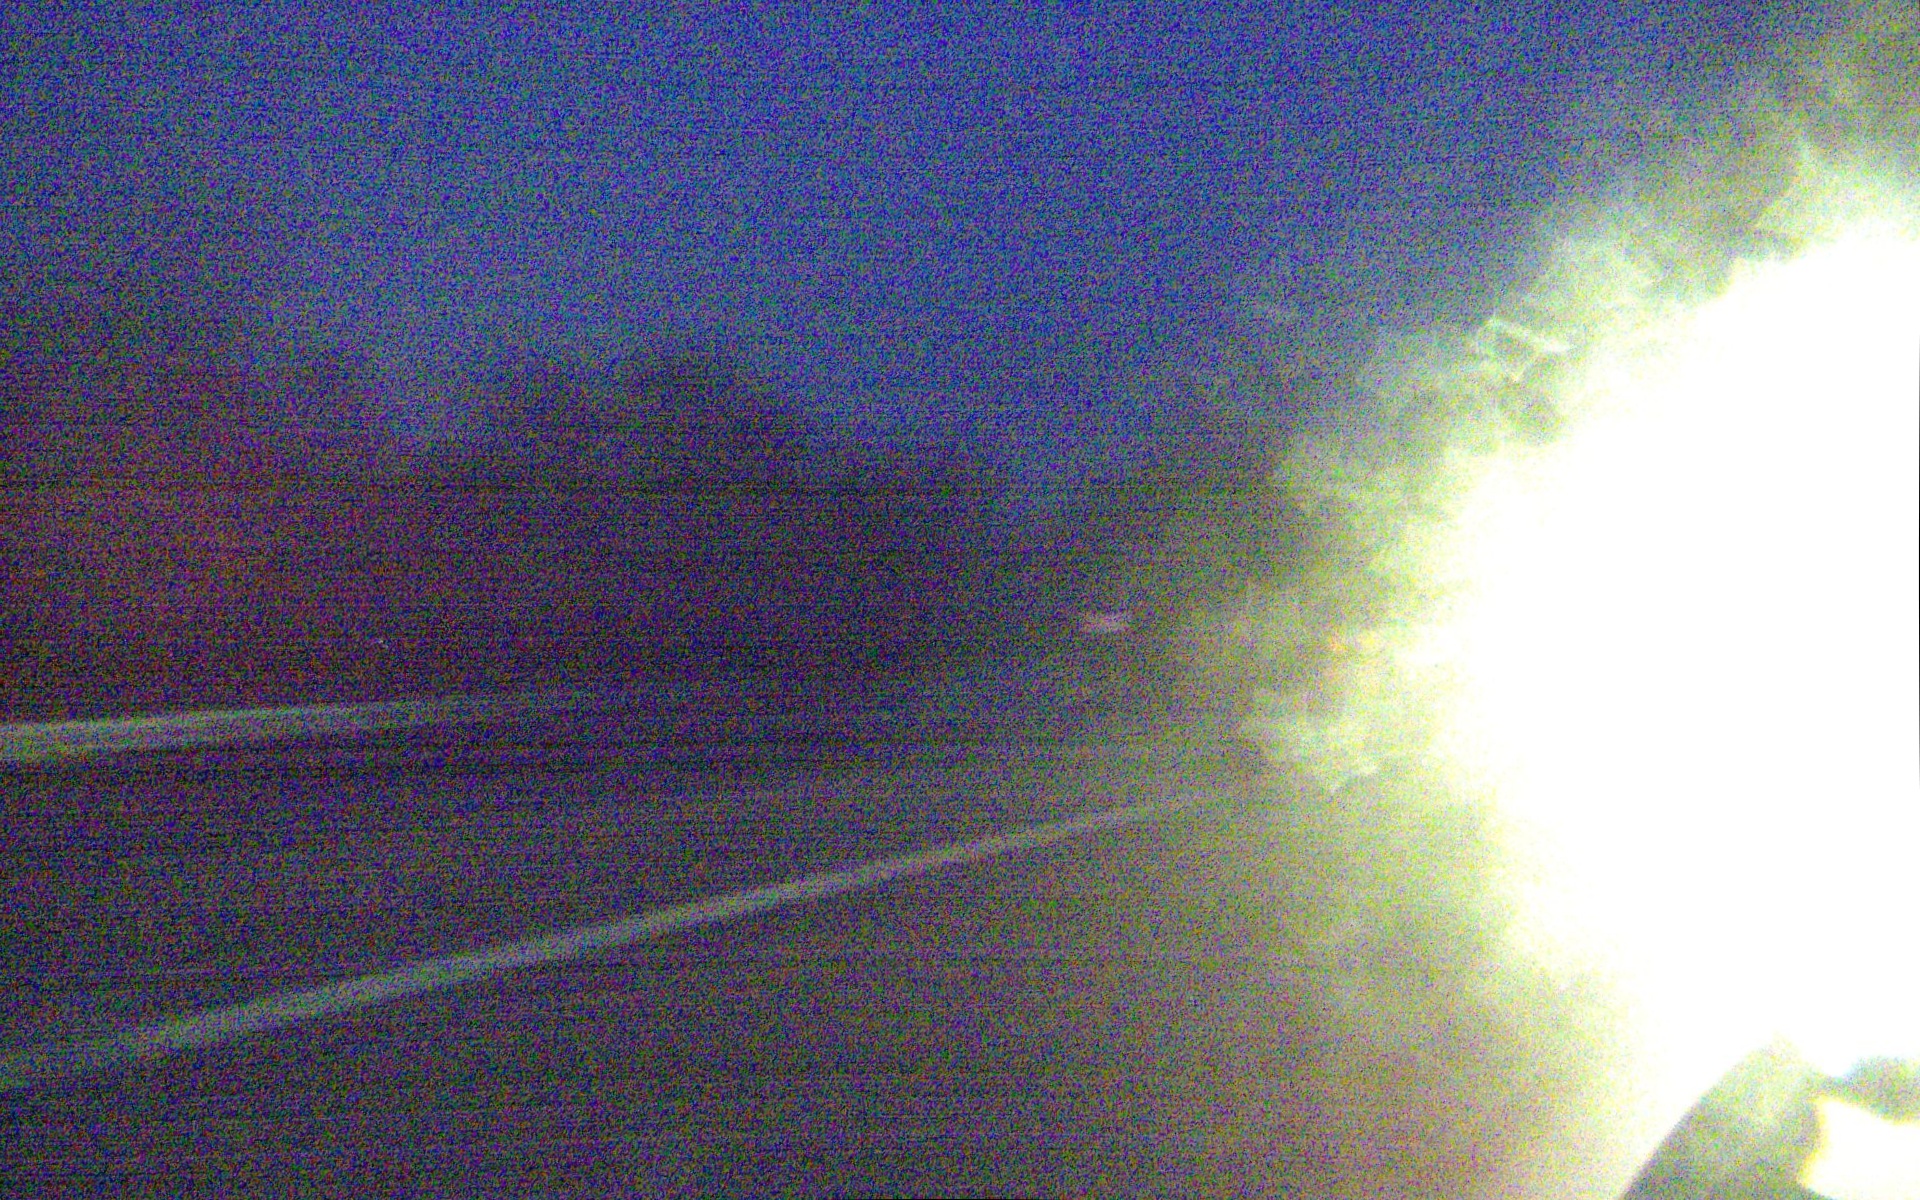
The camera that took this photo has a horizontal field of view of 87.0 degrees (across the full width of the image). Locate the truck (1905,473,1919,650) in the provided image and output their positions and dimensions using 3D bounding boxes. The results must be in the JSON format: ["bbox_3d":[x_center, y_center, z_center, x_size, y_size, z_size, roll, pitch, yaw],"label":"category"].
[{"bbox_3d":[29.247,-1.050,27.966,13.394,4.301,2.503,-1,1,-38],"label":"truck"}]

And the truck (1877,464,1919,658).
[{"bbox_3d":[23.870,-0.909,23.757,5.873,4.301,2.503,-1,1,-38],"label":"truck"}]
